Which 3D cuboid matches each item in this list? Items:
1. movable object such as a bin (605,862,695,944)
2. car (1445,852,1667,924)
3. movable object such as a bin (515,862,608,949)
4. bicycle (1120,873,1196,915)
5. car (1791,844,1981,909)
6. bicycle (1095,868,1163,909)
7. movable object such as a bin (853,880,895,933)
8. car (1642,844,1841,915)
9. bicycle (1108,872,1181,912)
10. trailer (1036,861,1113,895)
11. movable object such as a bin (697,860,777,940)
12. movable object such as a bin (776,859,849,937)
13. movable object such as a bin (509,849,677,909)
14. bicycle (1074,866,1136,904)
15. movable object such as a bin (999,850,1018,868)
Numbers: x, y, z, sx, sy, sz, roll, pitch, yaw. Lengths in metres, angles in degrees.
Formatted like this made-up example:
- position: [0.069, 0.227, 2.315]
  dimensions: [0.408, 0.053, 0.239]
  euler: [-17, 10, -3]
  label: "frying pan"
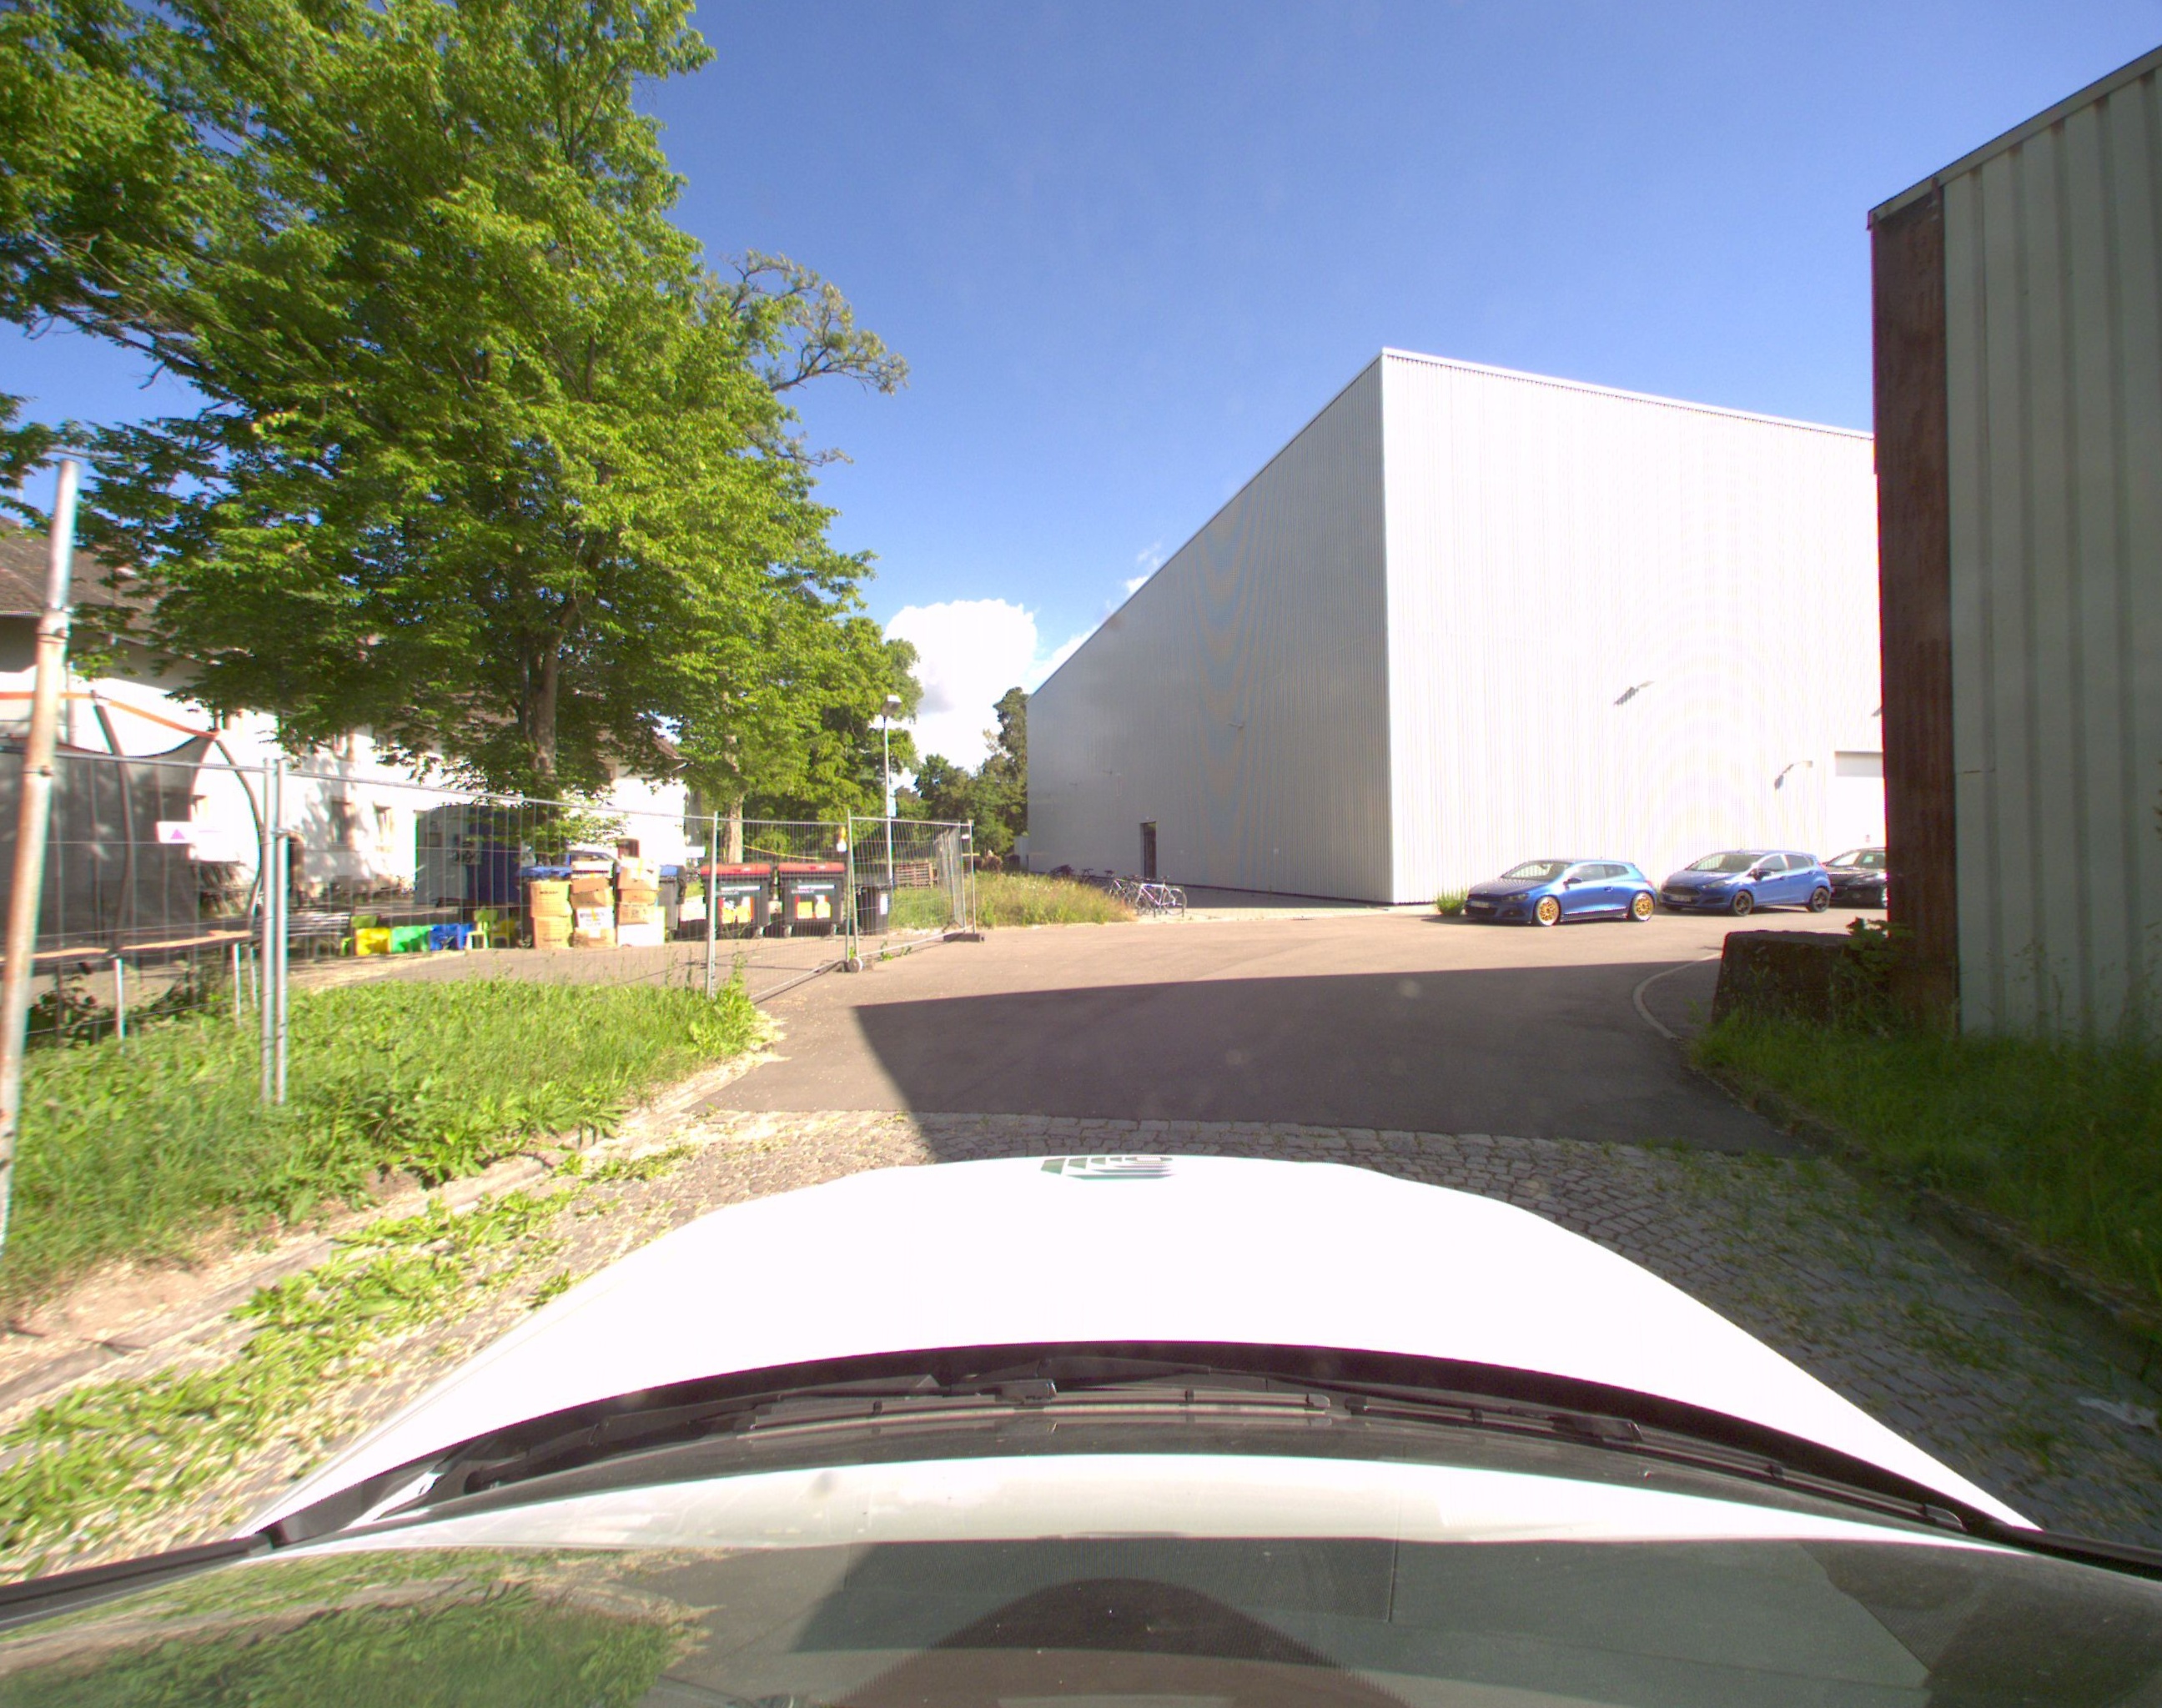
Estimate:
- position: [-7.989, 0.874, 15.176]
  dimensions: [1.291, 1.426, 1.026]
  euler: [-1, 0, -18]
  label: "movable object such as a bin"
- position: [10.150, 0.665, 17.456]
  dimensions: [4.164, 1.384, 1.745]
  euler: [-1, 0, -17]
  label: "car"
- position: [-9.223, 0.883, 14.520]
  dimensions: [1.085, 1.438, 1.051]
  euler: [-1, 0, -14]
  label: "movable object such as a bin"
- position: [1.971, 1.009, 20.741]
  dimensions: [1.887, 0.978, 0.431]
  euler: [-1, 0, -17]
  label: "bicycle"
- position: [20.160, 0.506, 20.430]
  dimensions: [3.894, 1.418, 1.746]
  euler: [-1, 2, -17]
  label: "car"
- position: [1.370, 0.982, 23.175]
  dimensions: [1.887, 1.082, 0.431]
  euler: [-1, 0, -17]
  label: "bicycle"
- position: [-4.110, 1.033, 16.193]
  dimensions: [0.639, 1.007, 0.605]
  euler: [-1, 0, 0]
  label: "movable object such as a bin"
- position: [15.456, 0.539, 19.099]
  dimensions: [3.894, 1.473, 1.746]
  euler: [-1, 2, -17]
  label: "car"
- position: [1.707, 1.005, 21.858]
  dimensions: [1.887, 0.978, 0.431]
  euler: [-1, 0, -17]
  label: "bicycle"
- position: [-0.249, 0.905, 31.238]
  dimensions: [2.716, 1.200, 1.239]
  euler: [-1, 0, -17]
  label: "trailer"
- position: [-6.552, 0.846, 15.587]
  dimensions: [1.291, 1.426, 1.026]
  euler: [-1, 0, -18]
  label: "movable object such as a bin"
- position: [-5.274, 0.837, 16.024]
  dimensions: [1.291, 1.426, 1.026]
  euler: [-1, 0, -19]
  label: "movable object such as a bin"
- position: [-17.681, 0.870, 29.793]
  dimensions: [4.885, 1.970, 1.921]
  euler: [-1, 0, -18]
  label: "movable object such as a bin"
- position: [0.756, 0.968, 25.701]
  dimensions: [1.887, 1.126, 0.431]
  euler: [-1, 0, -17]
  label: "bicycle"
- position: [-6.758, 0.488, 76.161]
  dimensions: [1.365, 1.656, 2.829]
  euler: [-1, 0, -13]
  label: "movable object such as a bin"
